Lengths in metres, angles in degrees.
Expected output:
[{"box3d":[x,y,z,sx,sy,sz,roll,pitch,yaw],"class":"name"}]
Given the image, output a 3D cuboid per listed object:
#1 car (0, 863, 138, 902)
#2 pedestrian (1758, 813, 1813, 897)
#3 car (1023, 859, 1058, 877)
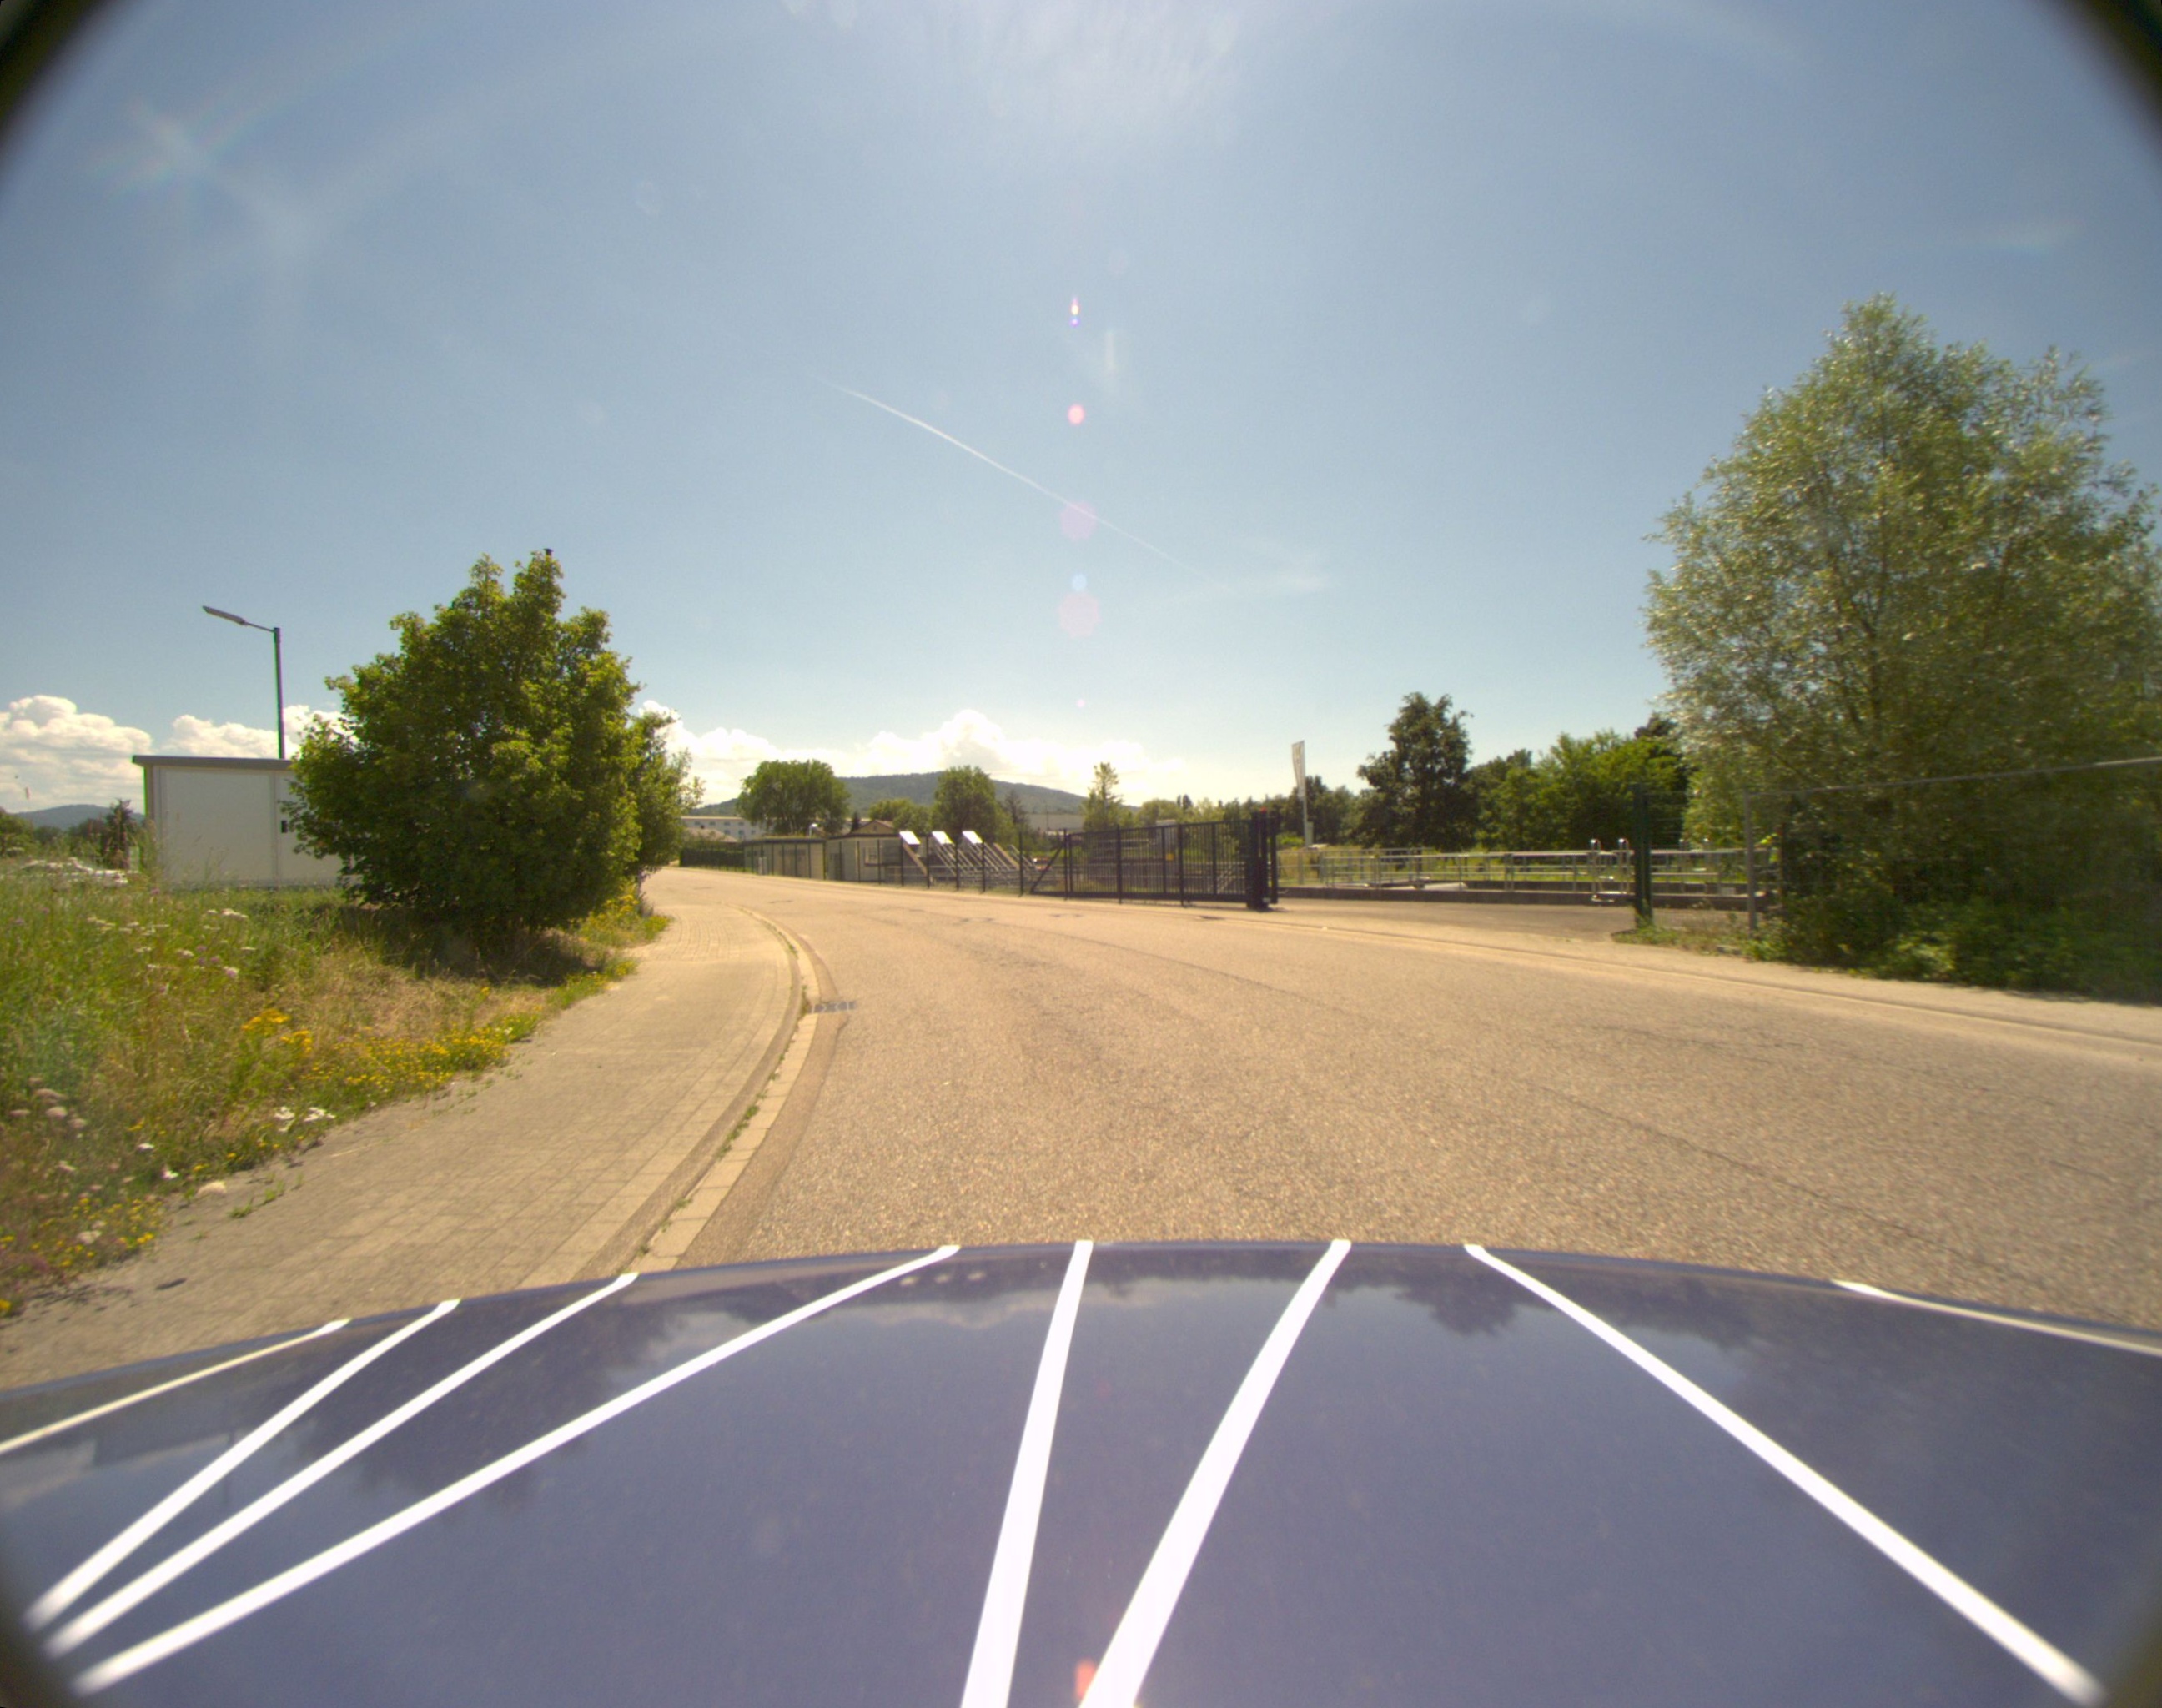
[{"box3d":[-43.166,1.149,31.756,4.410,1.527,1.994,0,0,-41],"class":"car"},{"box3d":[18.383,0.030,19.820,0.881,2.137,0.914,-1,0,-40],"class":"pedestrian"},{"box3d":[-3.795,1.286,70.365,1.802,1.608,3.992,-2,0,-25],"class":"car"}]
